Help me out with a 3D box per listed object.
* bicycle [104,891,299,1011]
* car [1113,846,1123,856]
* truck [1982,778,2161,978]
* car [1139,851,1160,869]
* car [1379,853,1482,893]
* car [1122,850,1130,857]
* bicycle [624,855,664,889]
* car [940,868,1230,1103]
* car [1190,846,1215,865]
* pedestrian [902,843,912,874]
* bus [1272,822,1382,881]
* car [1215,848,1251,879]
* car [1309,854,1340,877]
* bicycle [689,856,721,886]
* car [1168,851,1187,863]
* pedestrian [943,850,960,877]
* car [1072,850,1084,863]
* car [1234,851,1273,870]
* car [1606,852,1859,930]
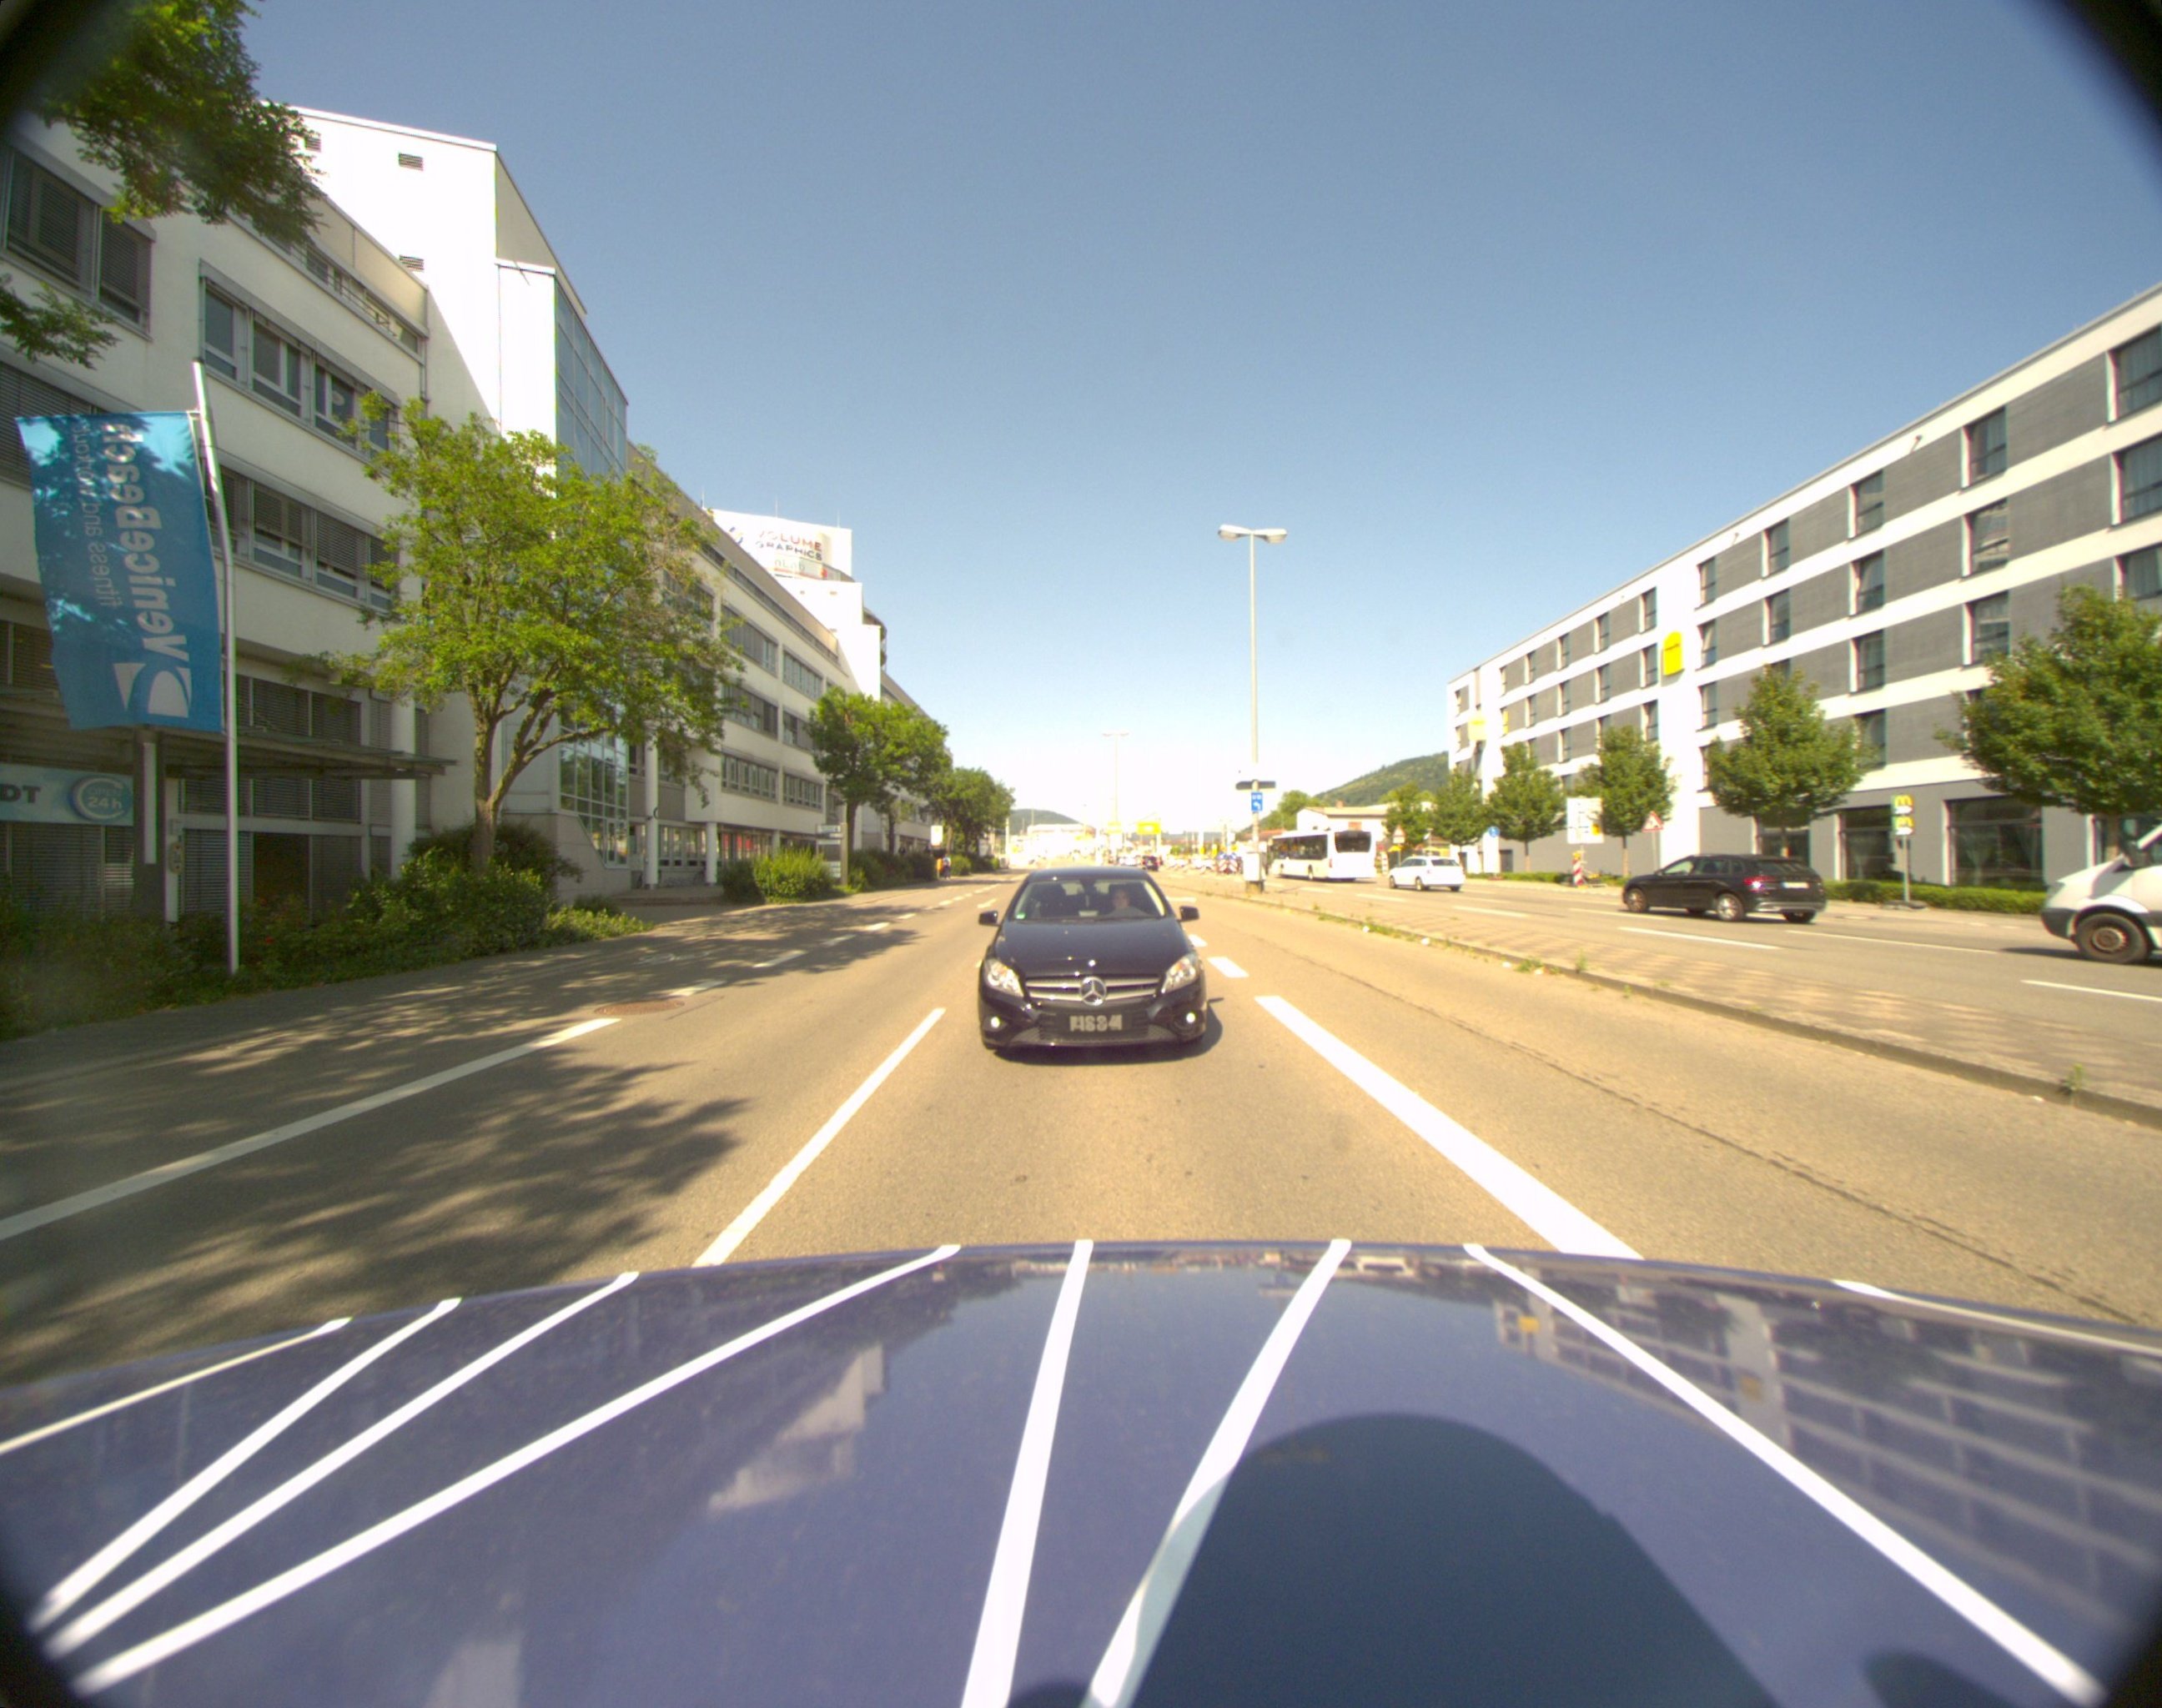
[{"bbox_3d":[-11.249,1.176,9.823,0.506,1.321,1.883,0,0,-8],"label":"bicycle"},{"bbox_3d":[7.893,-0.555,161.911,1.998,2.002,3.999,-2,1,1],"label":"car"},{"bbox_3d":[14.811,0.347,8.269,2.363,2.530,6.436,2,1,2],"label":"truck"},{"bbox_3d":[6.513,0.521,72.412,1.889,1.608,4.135,-1,0,4],"label":"car"},{"bbox_3d":[14.643,0.739,32.120,1.999,1.477,4.410,2,1,-5],"label":"car"},{"bbox_3d":[12.232,-0.121,207.325,1.998,2.002,4.000,0,0,0],"label":"car"},{"bbox_3d":[-18.036,0.742,31.410,0.506,1.346,1.884,-1,0,1],"label":"bicycle"},{"bbox_3d":[0.050,0.918,7.387,1.905,1.431,4.693,-1,0,1],"label":"car"},{"bbox_3d":[13.957,0.167,87.497,1.999,2.001,4.000,1,-2,-4],"label":"car"},{"bbox_3d":[-14.738,0.373,64.385,0.717,2.534,0.716,-1,1,-1],"label":"pedestrian"},{"bbox_3d":[14.553,-0.176,46.282,2.745,3.061,11.974,1,0,0],"label":"bus"},{"bbox_3d":[10.745,0.648,53.828,1.679,2.002,4.164,-2,1,1],"label":"car"},{"bbox_3d":[13.790,0.636,43.162,1.058,1.200,2.220,-2,1,2],"label":"car"},{"bbox_3d":[-17.693,0.787,35.807,0.506,1.346,1.884,-1,0,1],"label":"bicycle"},{"bbox_3d":[13.236,0.346,104.317,1.719,1.609,3.590,-1,0,-5],"label":"car"},{"bbox_3d":[-9.175,0.672,53.979,0.942,1.875,1.289,2,1,0],"label":"pedestrian"},{"bbox_3d":[-0.495,0.407,133.295,1.998,2.002,4.000,-2,1,2],"label":"car"},{"bbox_3d":[14.038,0.503,62.109,1.998,1.424,4.890,-1,0,0],"label":"car"},{"bbox_3d":[15.076,0.768,17.999,1.999,1.569,4.410,0,1,-4],"label":"car"}]
